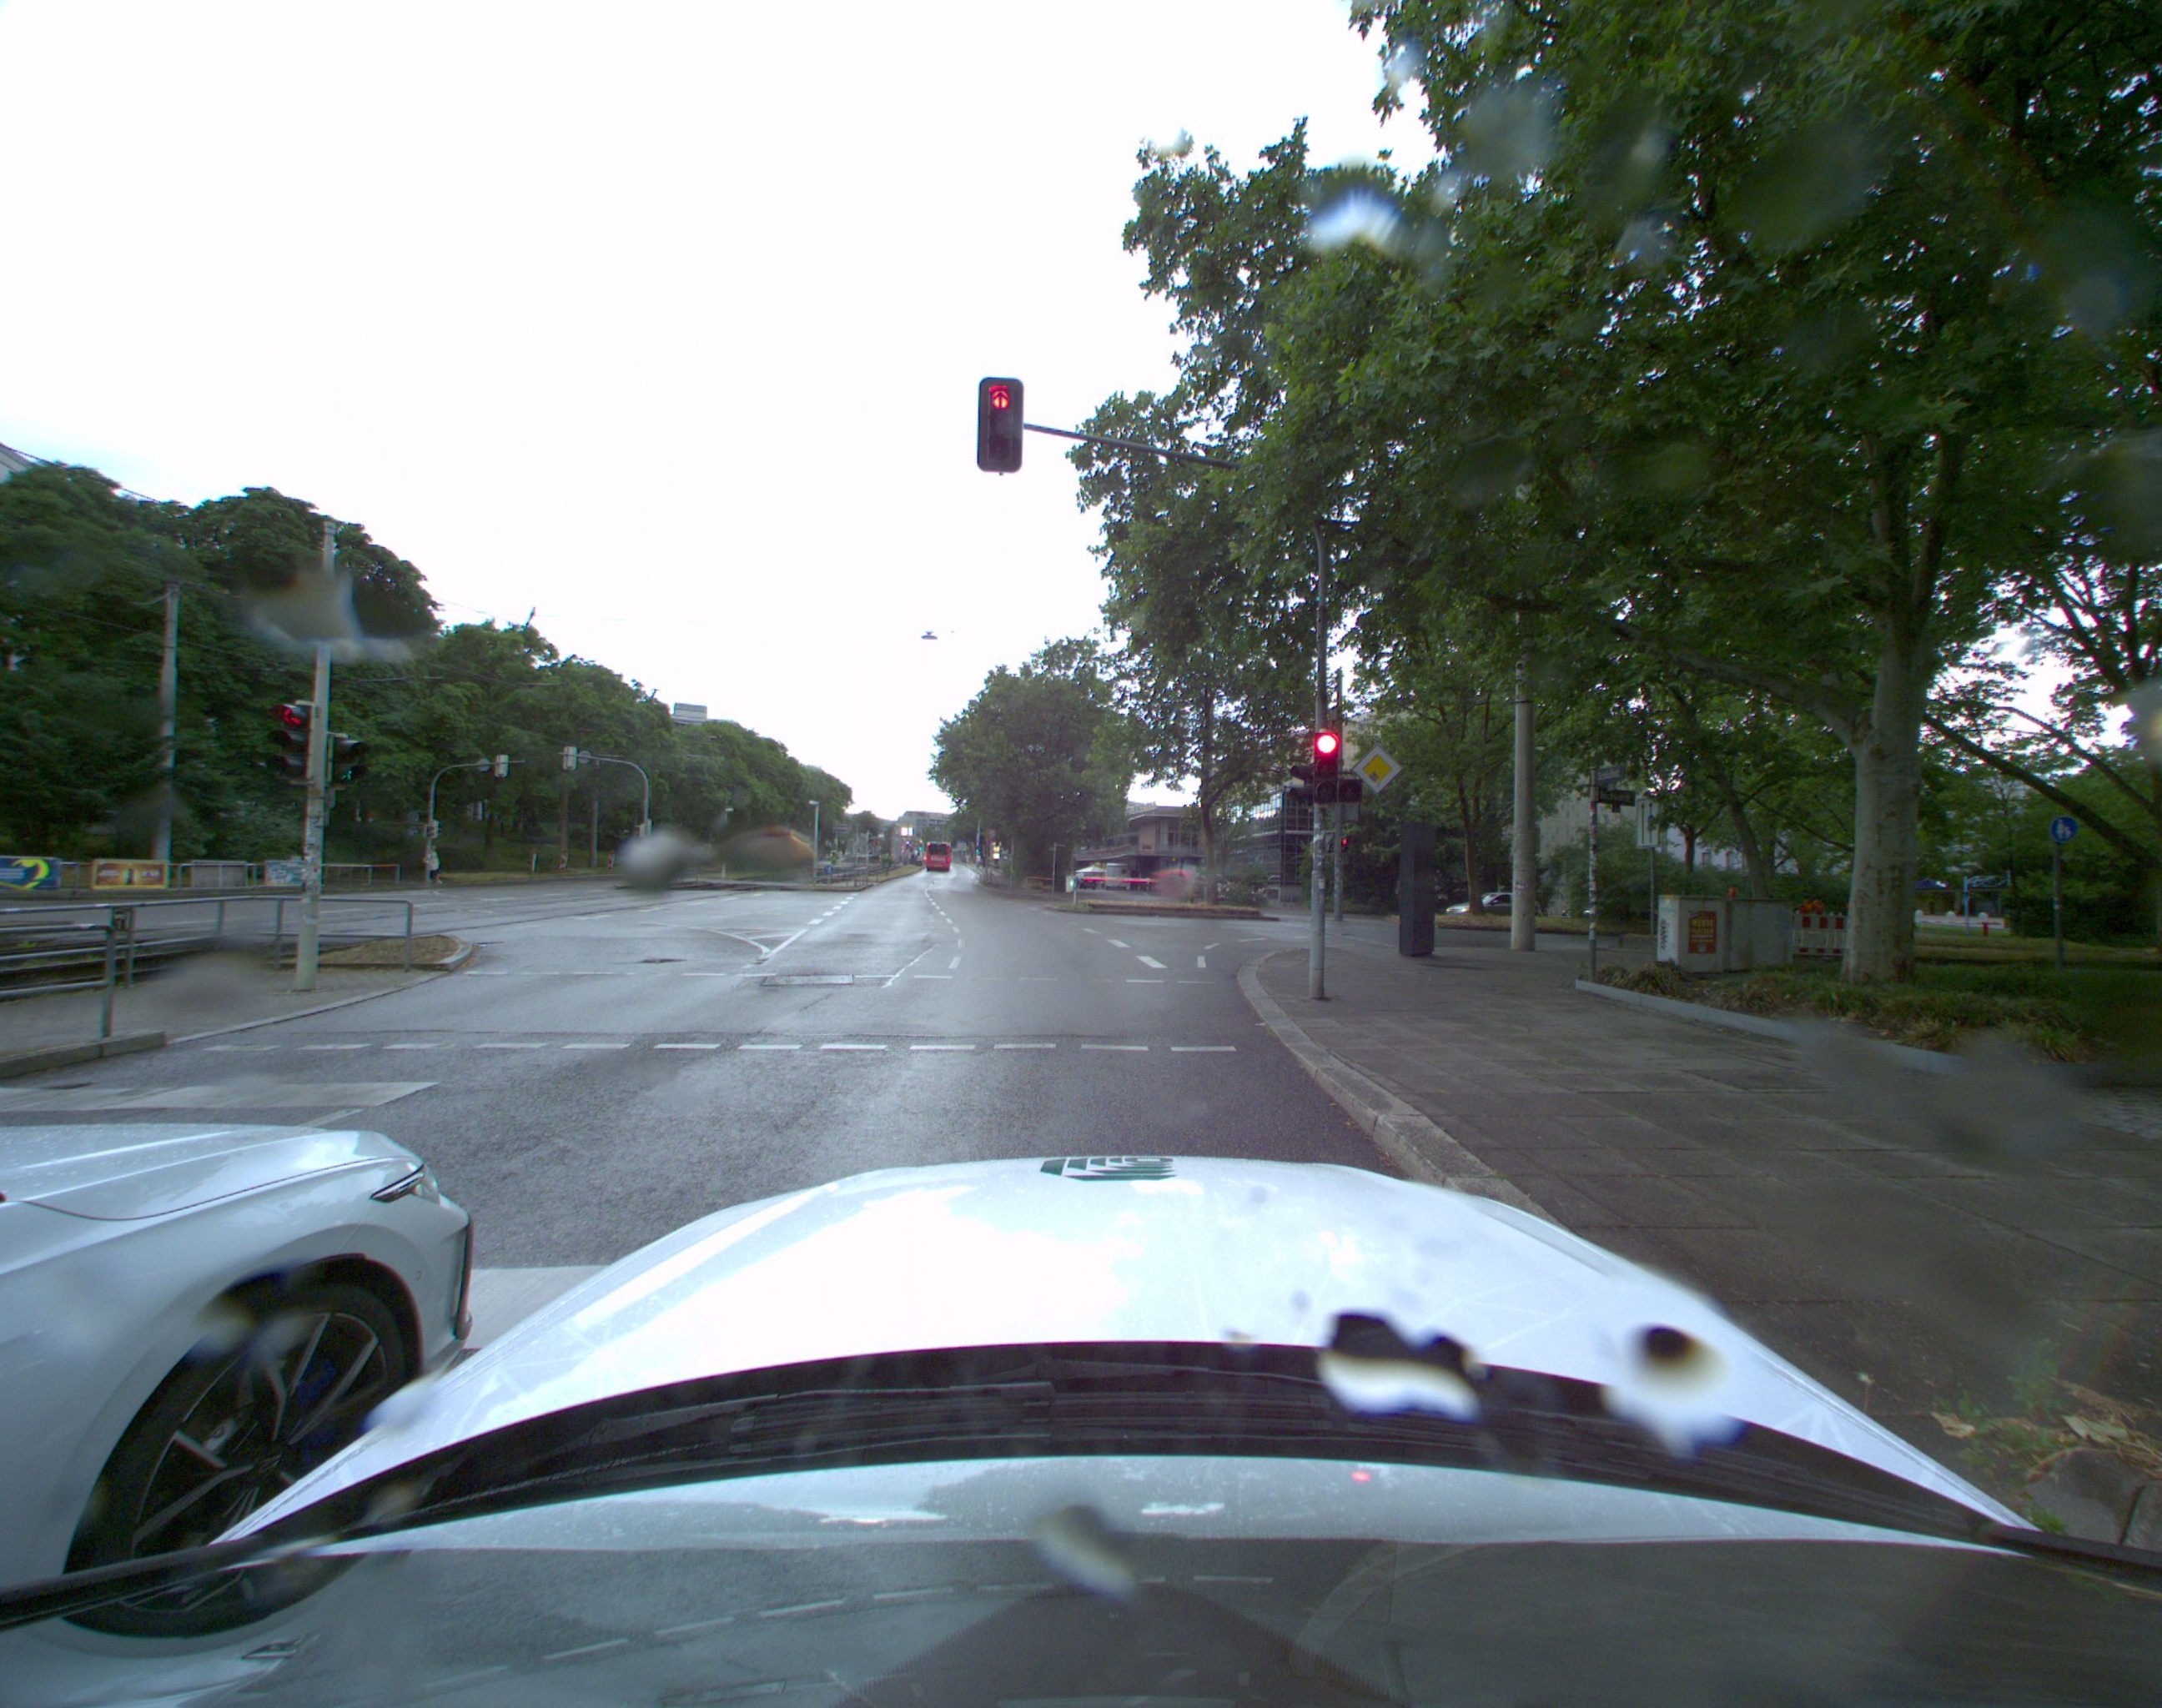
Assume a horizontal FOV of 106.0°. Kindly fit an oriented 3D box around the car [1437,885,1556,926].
[{"bbox_3d":[17.333,2.127,34.123,3.980,1.442,1.997,3,-2,-5],"label":"car"}]

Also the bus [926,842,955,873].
[{"bbox_3d":[-15.482,0.429,90.282,2.653,3.111,9.159,3,-1,-8],"label":"bus"}]

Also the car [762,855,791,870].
[{"bbox_3d":[-33.101,0.908,88.637,1.992,1.519,3.989,2,0,-8],"label":"car"}]

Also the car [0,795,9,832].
[{"bbox_3d":[-52.931,-2.016,37.888,2.005,1.794,4.172,4,-2,-28],"label":"car"}]

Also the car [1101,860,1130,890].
[{"bbox_3d":[3.777,2.315,90.484,2.539,3.134,5.024,3,-2,-3],"label":"car"}]

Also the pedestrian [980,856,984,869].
[{"bbox_3d":[-12.534,1.072,102.929,0.370,1.525,0.344,2,-1,1],"label":"pedestrian"}]

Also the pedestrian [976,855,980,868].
[{"bbox_3d":[-13.049,0.953,102.806,0.370,1.708,0.644,2,-1,2],"label":"pedestrian"}]

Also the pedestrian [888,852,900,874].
[{"bbox_3d":[-14.406,0.706,62.740,0.739,1.640,0.866,3,-2,-15],"label":"pedestrian"}]

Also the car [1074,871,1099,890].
[{"bbox_3d":[0.520,2.810,88.051,1.993,1.860,3.987,3,-2,-9],"label":"car"}]

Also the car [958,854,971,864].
[{"bbox_3d":[-21.838,0.976,152.757,1.995,1.684,3.984,3,-2,-12],"label":"car"}]

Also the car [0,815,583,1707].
[{"bbox_3d":[-2.421,0.721,0.350,1.673,1.576,4.254,1,0,2],"label":"car"}]

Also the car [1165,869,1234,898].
[{"bbox_3d":[9.037,2.228,61.971,4.762,1.943,1.986,3,-2,-20],"label":"car"}]

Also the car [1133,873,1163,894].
[{"bbox_3d":[6.899,3.030,84.409,1.994,2.014,3.985,3,-2,-10],"label":"car"}]
